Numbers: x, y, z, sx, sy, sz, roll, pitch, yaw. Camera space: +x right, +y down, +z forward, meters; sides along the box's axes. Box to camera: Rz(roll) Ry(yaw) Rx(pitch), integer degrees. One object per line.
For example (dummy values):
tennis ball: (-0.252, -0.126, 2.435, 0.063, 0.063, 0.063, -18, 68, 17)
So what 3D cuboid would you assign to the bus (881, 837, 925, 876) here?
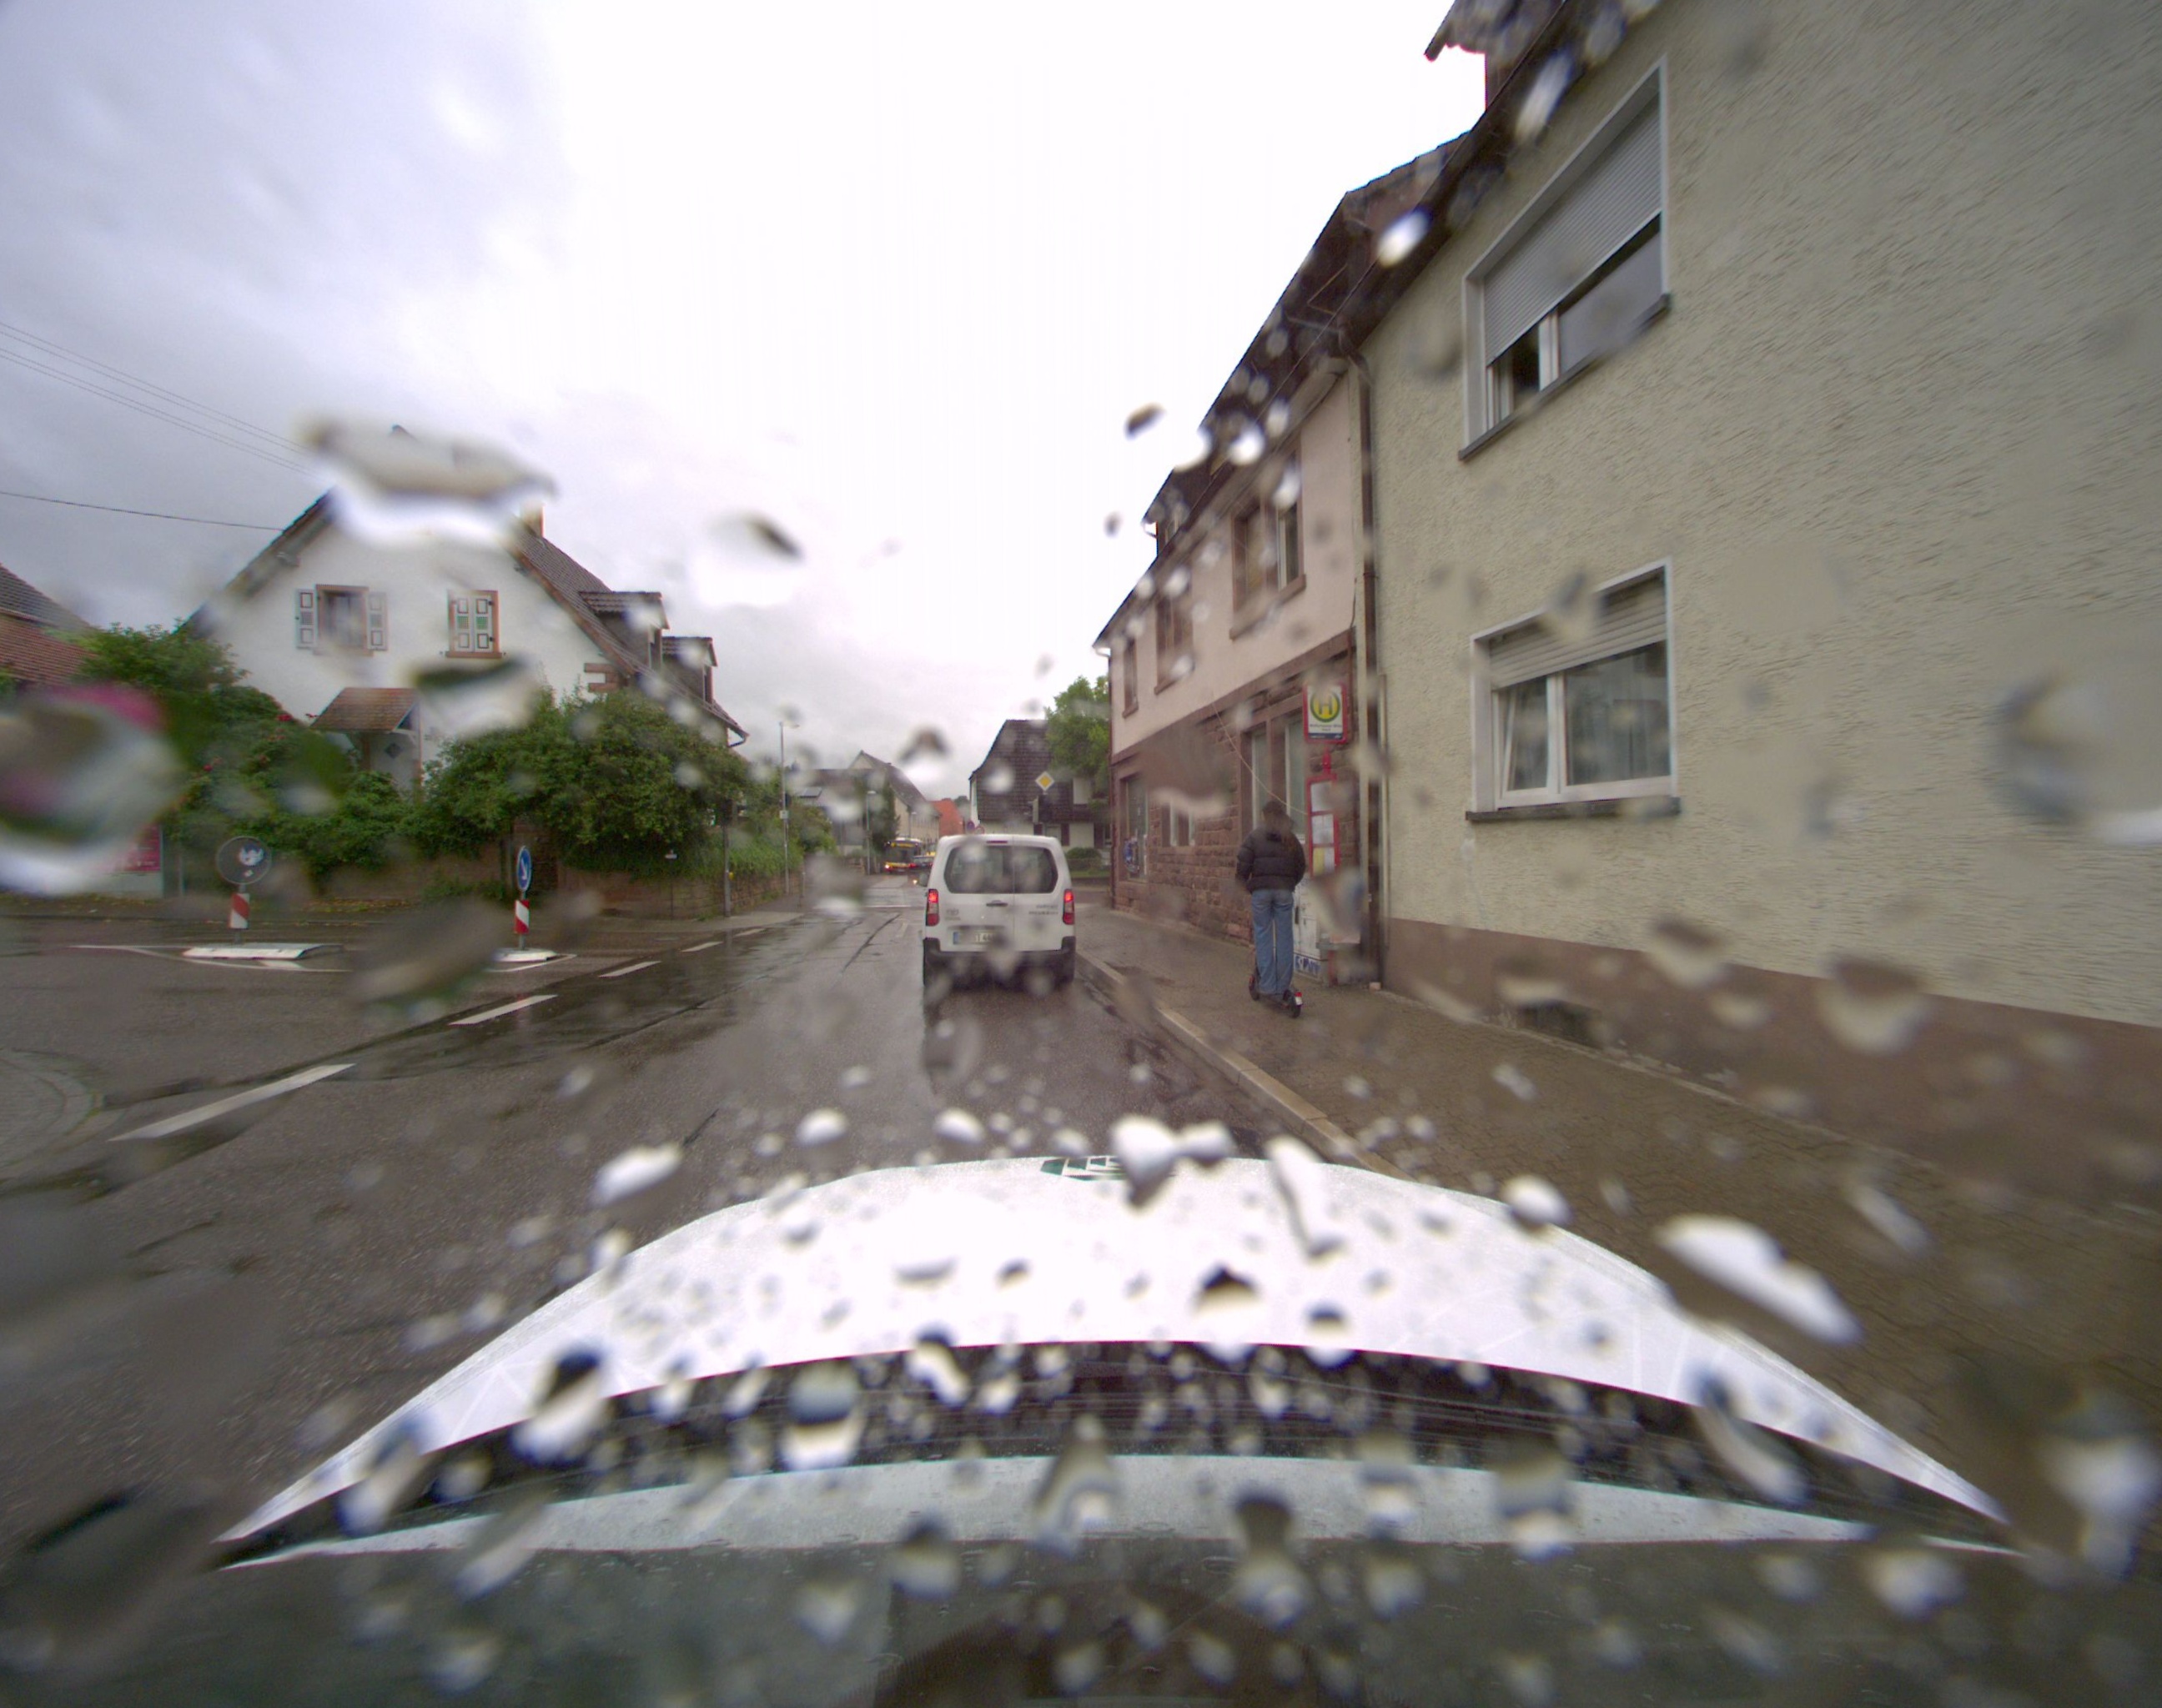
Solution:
bus: (-15.181, 0.082, 70.265, 2.647, 2.999, 12.162, 0, 2, -7)

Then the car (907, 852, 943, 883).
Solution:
car: (-8.342, 0.687, 43.726, 1.809, 1.596, 3.743, 0, 0, -10)

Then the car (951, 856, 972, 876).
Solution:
car: (-12.543, 1.244, 85.690, 1.892, 1.947, 3.994, -3, 0, -4)

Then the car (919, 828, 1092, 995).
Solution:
car: (-1.135, 0.622, 10.841, 1.894, 1.794, 3.800, 0, 0, -10)

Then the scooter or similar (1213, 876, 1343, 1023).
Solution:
scooter or similar: (1.723, 0.794, 7.326, 0.620, 1.127, 1.397, -1, 1, -10)

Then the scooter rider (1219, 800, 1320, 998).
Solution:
scooter rider: (1.710, 0.388, 7.447, 0.731, 1.733, 0.516, -1, -1, -11)

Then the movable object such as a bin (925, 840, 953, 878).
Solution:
movable object such as a bin: (-10.128, 0.354, 58.312, 1.725, 2.653, 3.964, 0, 0, -7)
